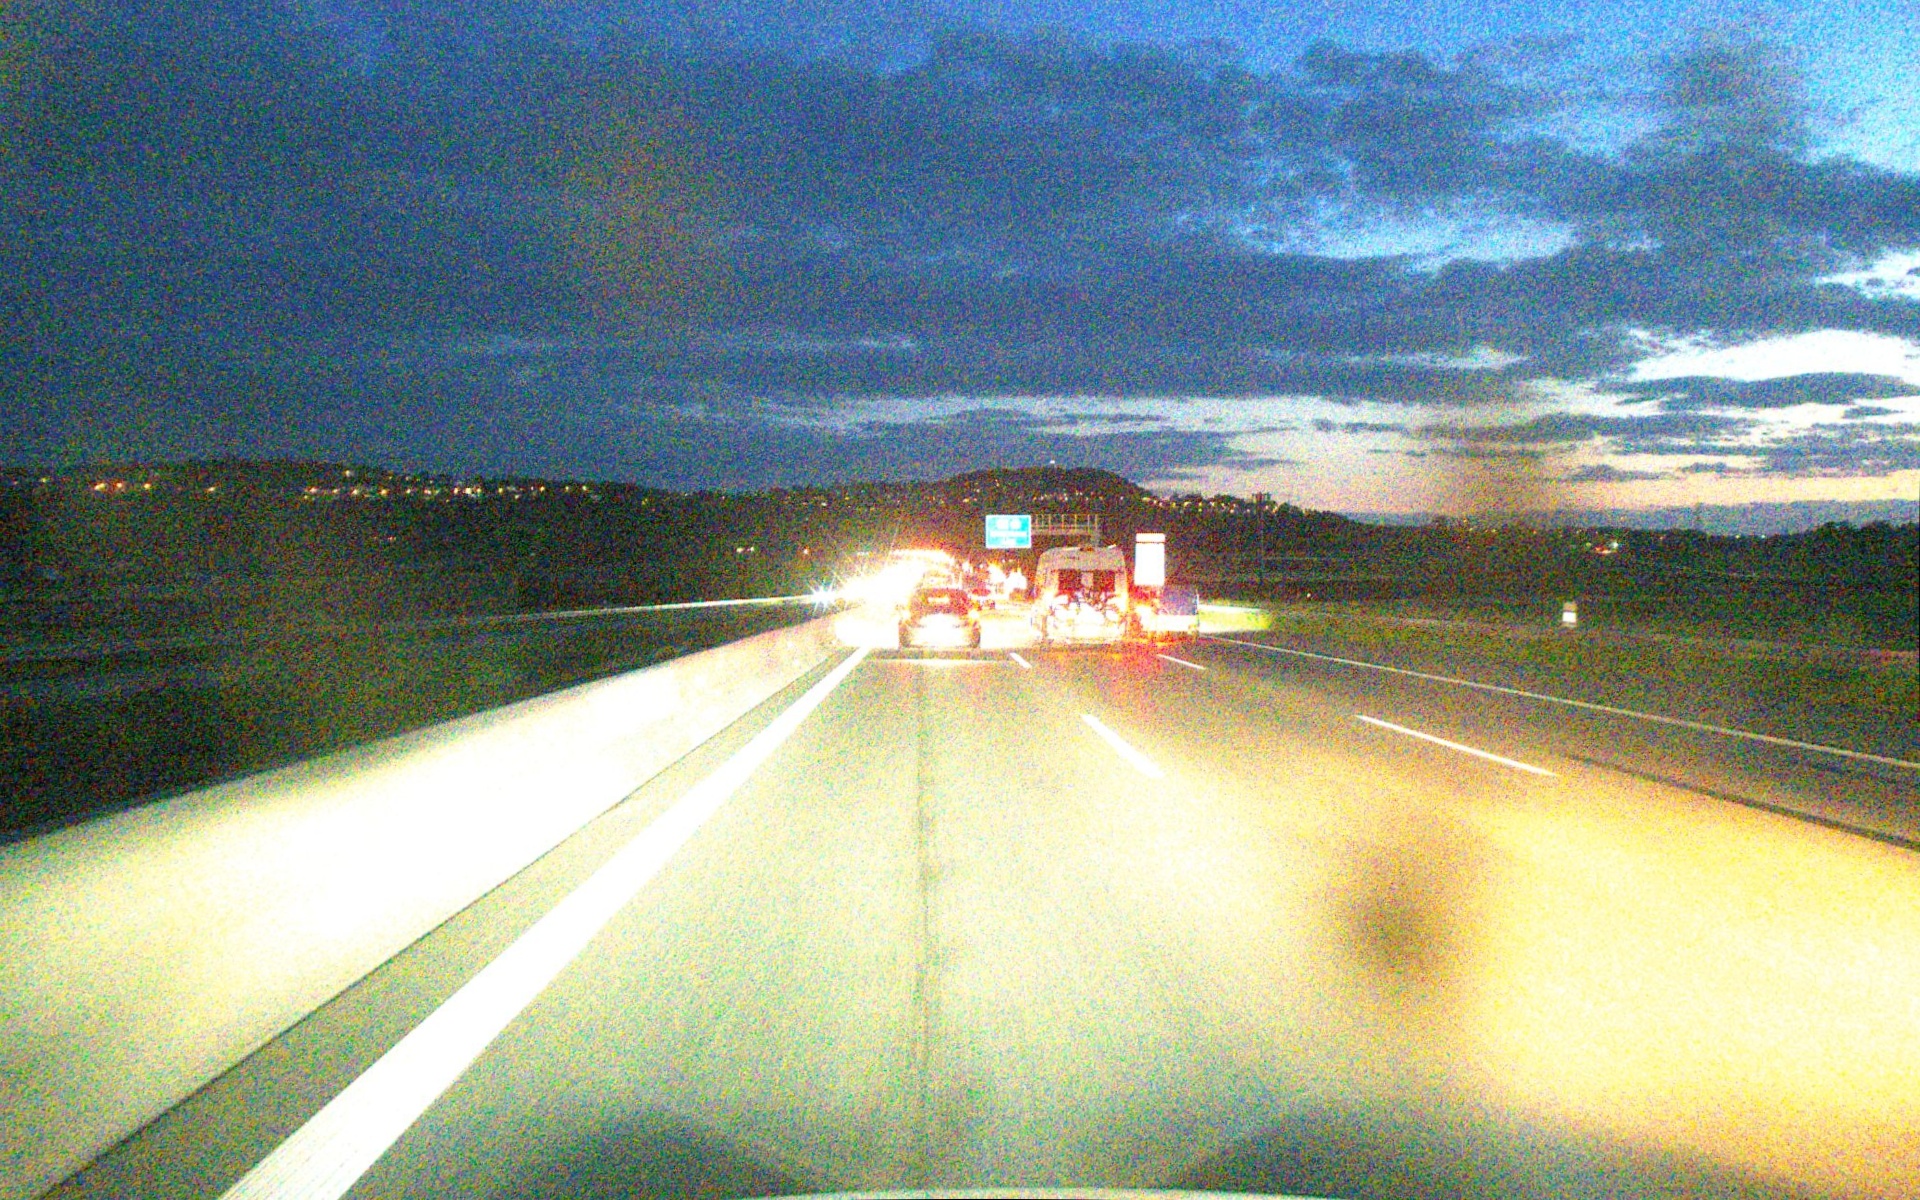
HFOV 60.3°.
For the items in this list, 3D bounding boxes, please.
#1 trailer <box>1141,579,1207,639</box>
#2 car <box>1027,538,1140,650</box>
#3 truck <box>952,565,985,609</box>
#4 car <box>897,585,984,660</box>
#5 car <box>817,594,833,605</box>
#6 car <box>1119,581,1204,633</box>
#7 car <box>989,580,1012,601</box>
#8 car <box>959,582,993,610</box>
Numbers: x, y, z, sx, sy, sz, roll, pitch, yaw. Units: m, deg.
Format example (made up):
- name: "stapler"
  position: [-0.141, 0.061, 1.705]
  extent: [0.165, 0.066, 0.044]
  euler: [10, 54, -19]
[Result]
- name: "trailer"
  position: [6.353, 0.257, 49.313]
  extent: [1.534, 1.723, 2.820]
  euler: [0, 0, -1]
- name: "car"
  position: [2.983, -0.182, 41.213]
  extent: [2.303, 2.579, 5.700]
  euler: [-1, 1, -1]
- name: "truck"
  position: [0.730, -1.242, 156.821]
  extent: [2.725, 4.024, 7.989]
  euler: [-1, 0, -2]
- name: "car"
  position: [-0.417, 0.435, 35.774]
  extent: [1.757, 1.494, 3.772]
  euler: [0, 1, -1]
- name: "car"
  position: [-19.948, -0.076, 244.426]
  extent: [1.953, 1.504, 5.043]
  euler: [-3, 0, -2]
- name: "car"
  position: [6.383, 0.197, 52.941]
  extent: [2.119, 1.591, 4.722]
  euler: [0, 1, -1]
- name: "car"
  position: [4.299, -1.033, 177.723]
  extent: [2.303, 2.112, 4.722]
  euler: [-1, 1, -1]
- name: "car"
  position: [1.124, -0.318, 118.106]
  extent: [2.303, 1.947, 4.722]
  euler: [-1, 0, -1]
